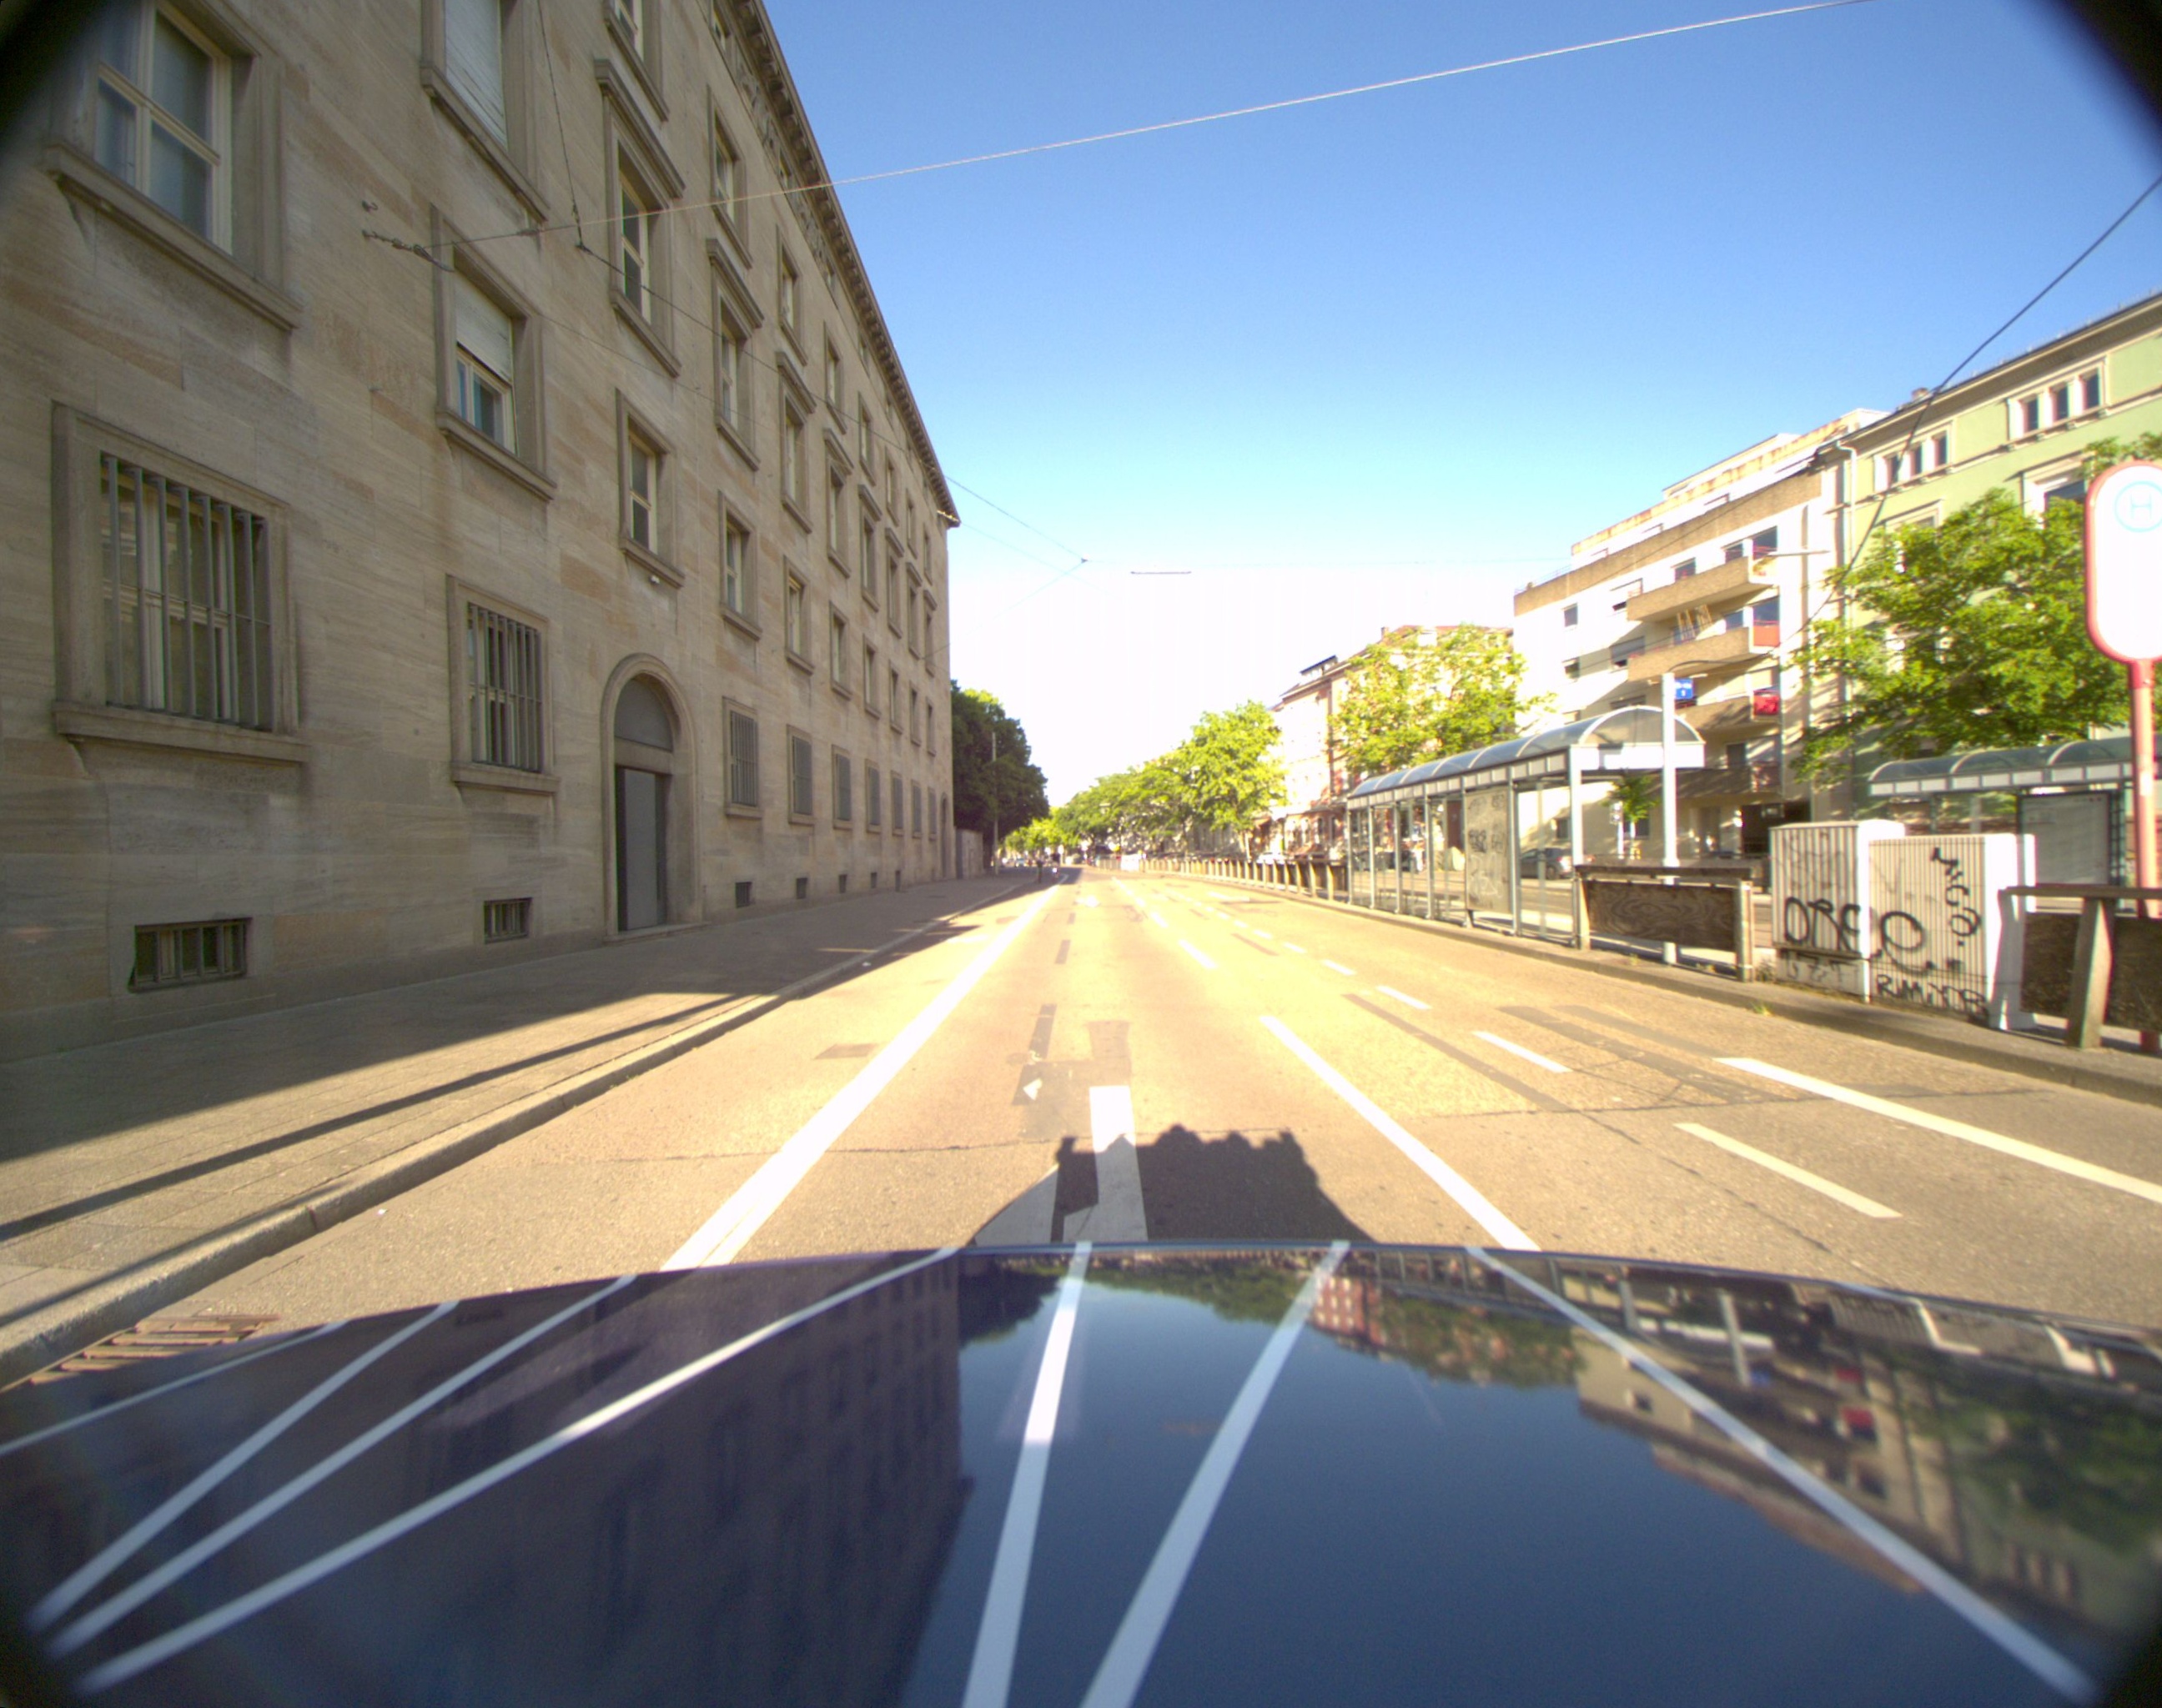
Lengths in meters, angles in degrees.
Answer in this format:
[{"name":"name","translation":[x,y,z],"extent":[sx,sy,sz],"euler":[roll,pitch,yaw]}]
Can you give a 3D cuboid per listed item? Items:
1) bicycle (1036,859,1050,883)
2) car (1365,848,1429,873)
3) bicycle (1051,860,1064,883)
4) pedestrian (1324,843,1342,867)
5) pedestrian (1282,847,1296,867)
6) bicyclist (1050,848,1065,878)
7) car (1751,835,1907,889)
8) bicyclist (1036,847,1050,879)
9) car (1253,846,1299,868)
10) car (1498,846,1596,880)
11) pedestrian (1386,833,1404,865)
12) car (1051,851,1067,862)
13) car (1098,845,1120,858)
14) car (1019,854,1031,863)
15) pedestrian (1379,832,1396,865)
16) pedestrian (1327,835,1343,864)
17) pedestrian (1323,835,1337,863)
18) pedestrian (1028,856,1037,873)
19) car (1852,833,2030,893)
[{"name":"bicycle","translation":[-2.103,0.930,42.313],"extent":[0.625,1.214,1.659],"euler":[-3,1,1]},{"name":"car","translation":[18.502,0.361,44.670],"extent":[1.609,1.388,3.997],"euler":[-1,0,-9]},{"name":"bicycle","translation":[-1.251,0.920,40.691],"extent":[0.625,1.167,1.566],"euler":[-1,0,1]},{"name":"pedestrian","translation":[18.390,0.063,55.412],"extent":[0.855,1.710,1.019],"euler":[-1,1,-8]},{"name":"pedestrian","translation":[17.246,0.271,62.885],"extent":[0.866,1.619,0.893],"euler":[-1,1,31]},{"name":"bicyclist","translation":[-1.265,0.462,40.797],"extent":[0.728,1.570,0.775],"euler":[-1,1,1]},{"name":"car","translation":[23.900,0.228,24.316],"extent":[4.002,1.573,1.761],"euler":[-1,0,-14]},{"name":"bicyclist","translation":[-2.123,0.514,42.262],"extent":[0.625,1.729,0.688],"euler":[-3,1,1]},{"name":"car","translation":[16.311,0.230,63.513],"extent":[4.134,1.698,1.848],"euler":[-1,1,-45]},{"name":"car","translation":[20.884,0.362,34.239],"extent":[1.654,1.419,3.737],"euler":[-1,0,-11]},{"name":"pedestrian","translation":[21.287,-0.342,51.499],"extent":[0.813,2.194,0.756],"euler":[-1,1,-10]},{"name":"car","translation":[-3.677,0.416,126.246],"extent":[2.001,1.789,3.995],"euler":[-1,0,-13]},{"name":"car","translation":[3.393,-0.261,93.289],"extent":[1.648,1.480,3.995],"euler":[-2,1,-12]},{"name":"car","translation":[-8.899,0.680,120.424],"extent":[1.772,1.429,3.831],"euler":[-1,0,-7]},{"name":"pedestrian","translation":[21.156,-0.382,52.425],"extent":[0.813,2.194,0.756],"euler":[-1,1,-10]},{"name":"pedestrian","translation":[19.324,-0.371,57.795],"extent":[0.813,2.194,0.756],"euler":[-1,1,-10]},{"name":"pedestrian","translation":[19.413,-0.392,59.300],"extent":[0.812,2.194,0.756],"euler":[-1,1,-4]},{"name":"pedestrian","translation":[-3.744,0.790,58.922],"extent":[0.548,1.327,0.587],"euler":[-1,1,7]},{"name":"car","translation":[24.662,0.226,21.823],"extent":[4.002,1.573,1.761],"euler":[-1,0,-14]}]
